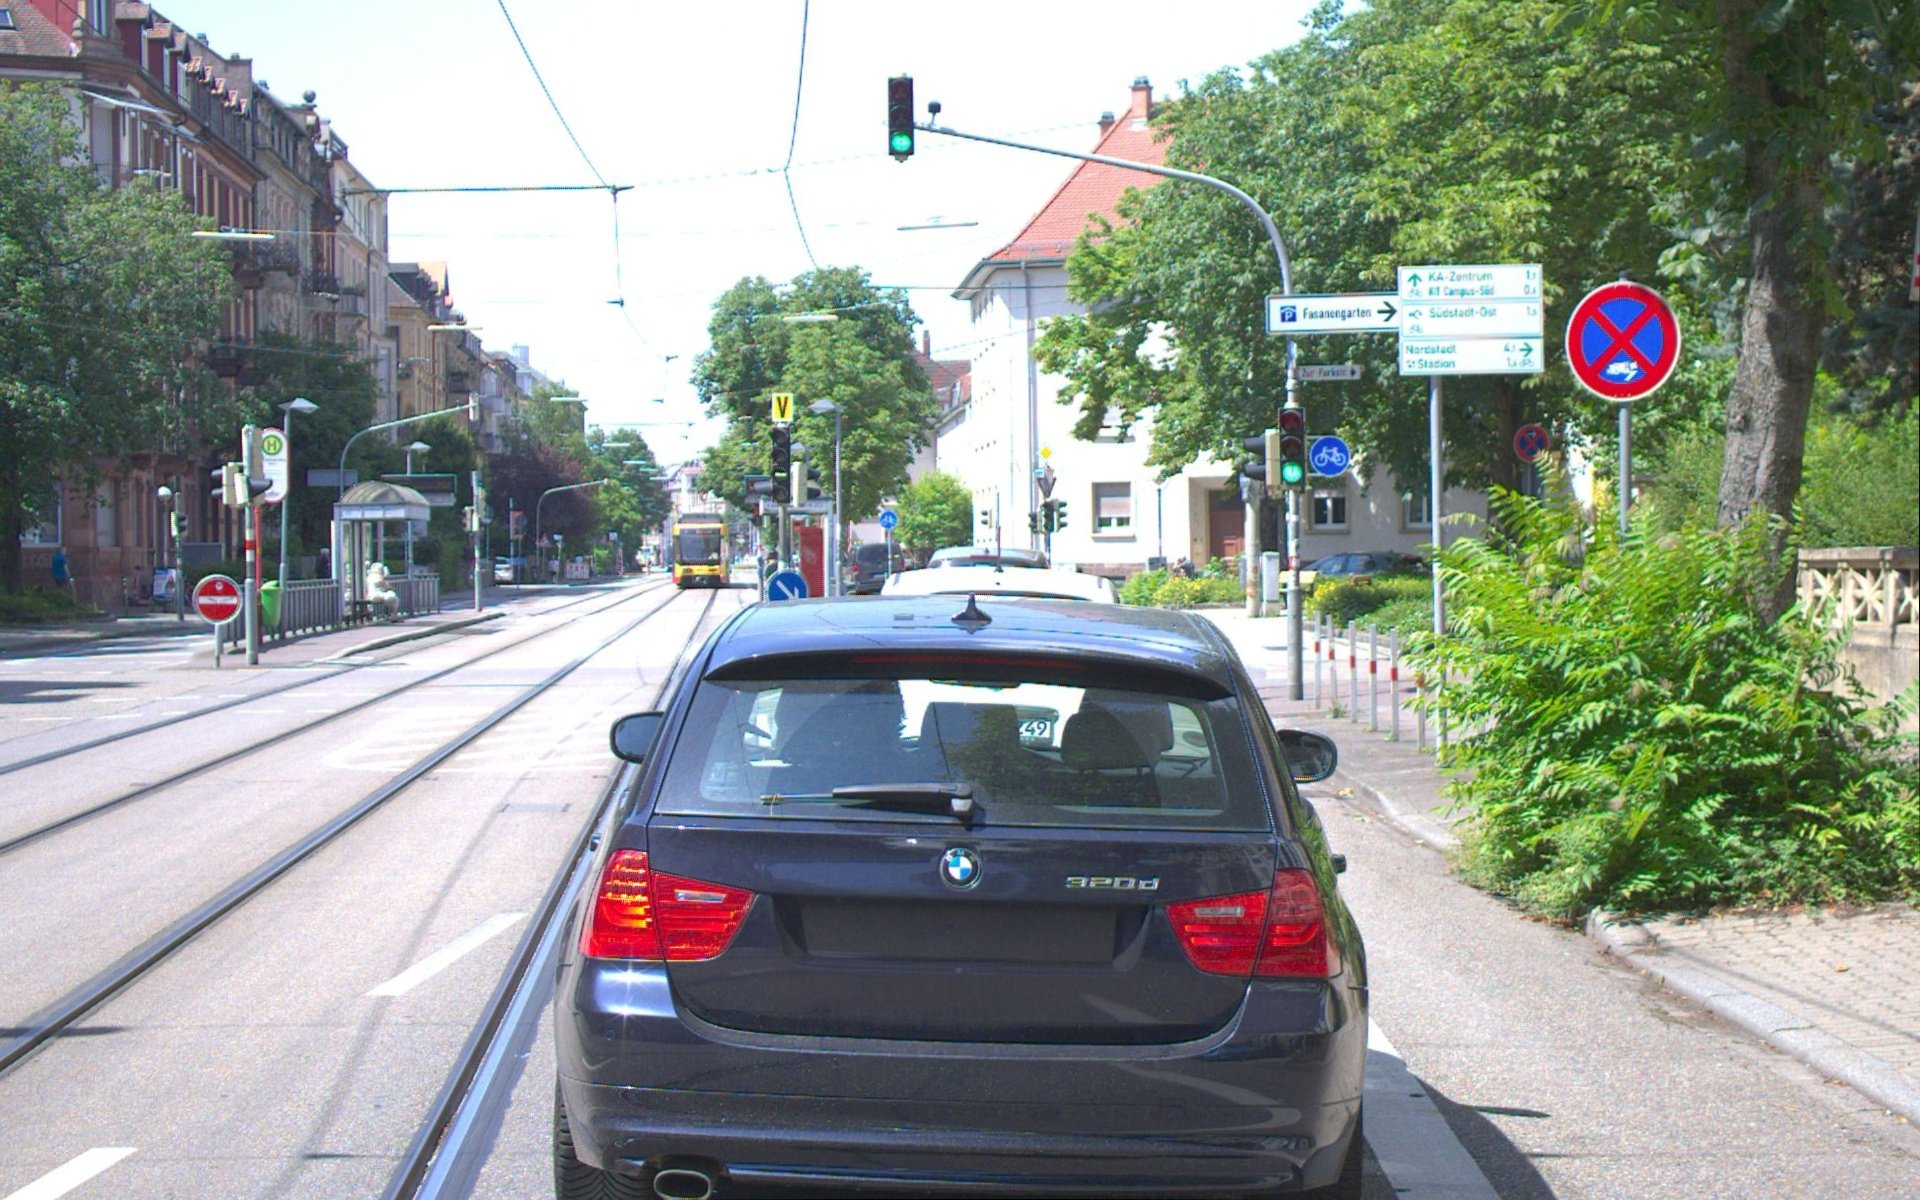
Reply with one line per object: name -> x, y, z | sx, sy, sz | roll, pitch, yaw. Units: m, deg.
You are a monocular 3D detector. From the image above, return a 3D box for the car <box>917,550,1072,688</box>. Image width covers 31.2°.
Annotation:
car -> 0.391, 0.180, 39.531 | 1.691, 1.508, 3.821 | 0, 1, 0

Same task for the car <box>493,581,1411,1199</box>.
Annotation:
car -> 0.040, 0.706, 8.847 | 1.722, 1.404, 4.565 | 2, 1, 2

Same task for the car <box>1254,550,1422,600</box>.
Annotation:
car -> 9.696, -0.641, 88.275 | 3.994, 1.239, 1.620 | 0, 1, 32

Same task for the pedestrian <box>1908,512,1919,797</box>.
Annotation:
pedestrian -> 5.919, 0.311, 19.536 | 0.857, 1.640, 0.836 | -1, 1, 4

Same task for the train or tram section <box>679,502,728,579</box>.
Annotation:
train or tram section -> -12.061, -2.807, 161.811 | 2.190, 3.470, 8.847 | -1, 1, -4

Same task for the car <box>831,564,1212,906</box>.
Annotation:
car -> 0.286, 0.585, 17.193 | 1.685, 1.479, 3.684 | -1, 1, 0

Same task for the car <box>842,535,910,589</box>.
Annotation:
car -> -2.988, -1.351, 121.621 | 1.993, 1.842, 4.001 | -1, 1, -7

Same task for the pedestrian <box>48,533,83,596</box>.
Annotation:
pedestrian -> -25.500, -1.010, 97.998 | 0.640, 1.805, 0.738 | 0, 1, 44

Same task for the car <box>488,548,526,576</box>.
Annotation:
car -> -25.748, -2.149, 195.242 | 1.787, 1.580, 4.001 | 1, 0, -12

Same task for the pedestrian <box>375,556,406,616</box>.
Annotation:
pedestrian -> -11.789, -0.288, 71.144 | 0.613, 1.238, 0.628 | -1, 1, -9

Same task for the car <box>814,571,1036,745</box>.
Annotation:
car -> -0.353, 0.431, 28.573 | 1.691, 1.318, 3.822 | 0, 1, -3

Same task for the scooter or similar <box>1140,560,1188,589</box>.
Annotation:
scooter or similar -> 5.962, -0.736, 100.413 | 1.311, 0.834, 0.527 | -1, 1, -9
